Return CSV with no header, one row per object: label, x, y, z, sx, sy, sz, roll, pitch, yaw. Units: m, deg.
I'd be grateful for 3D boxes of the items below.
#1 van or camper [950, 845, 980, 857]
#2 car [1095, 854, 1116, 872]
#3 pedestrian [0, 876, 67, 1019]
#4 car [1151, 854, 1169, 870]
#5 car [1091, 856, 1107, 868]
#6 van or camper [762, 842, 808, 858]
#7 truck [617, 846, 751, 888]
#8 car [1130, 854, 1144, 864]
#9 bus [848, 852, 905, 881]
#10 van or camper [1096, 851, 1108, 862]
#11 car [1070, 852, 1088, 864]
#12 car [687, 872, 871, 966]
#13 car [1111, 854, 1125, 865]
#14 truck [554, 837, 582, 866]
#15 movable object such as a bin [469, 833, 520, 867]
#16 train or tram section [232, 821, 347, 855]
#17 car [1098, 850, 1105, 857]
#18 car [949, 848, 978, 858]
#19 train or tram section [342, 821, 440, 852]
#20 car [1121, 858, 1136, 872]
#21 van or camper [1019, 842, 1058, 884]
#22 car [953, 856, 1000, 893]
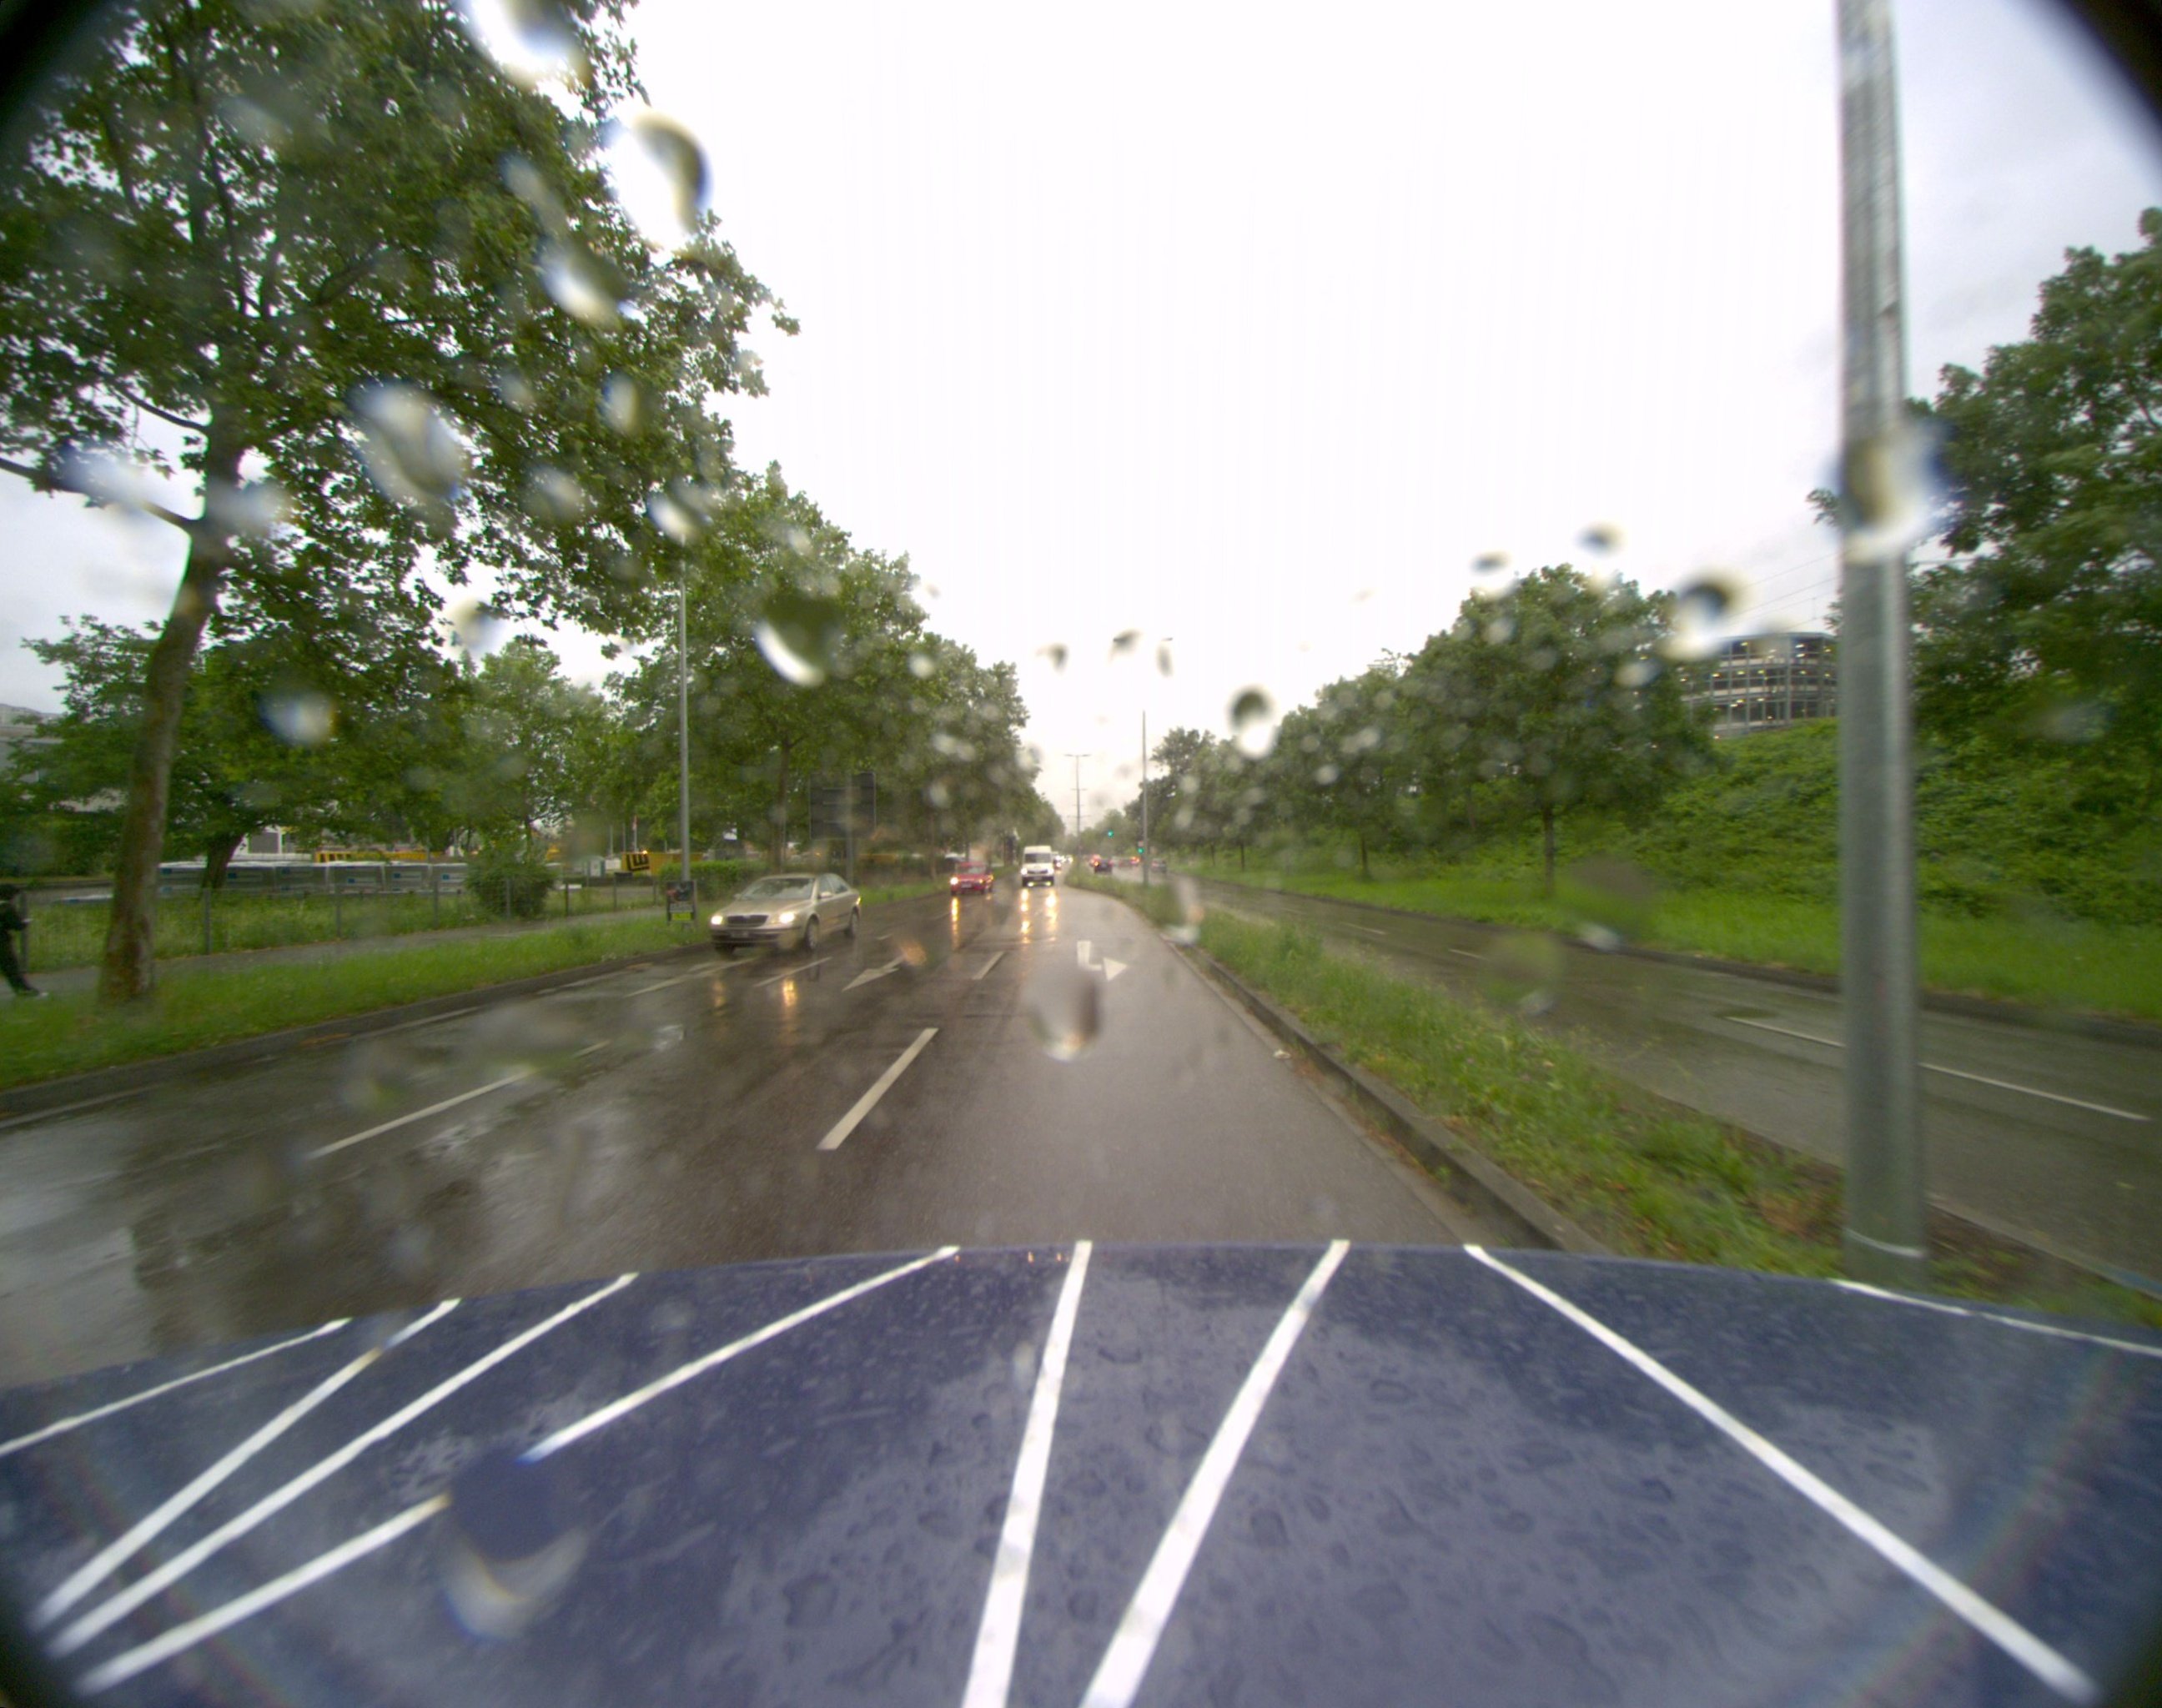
van or camper,-20.081,-0.461,131.472,4.918,2.076,1.863,0,1,-38
car,2.439,0.869,76.671,1.829,1.566,4.358,3,1,-1
pedestrian,-13.670,1.168,9.441,0.666,1.752,1.075,-1,0,-5
car,8.676,0.853,83.544,1.700,1.608,3.847,-1,0,1
car,2.617,1.166,108.961,1.914,1.565,4.707,1,0,-3
van or camper,-65.720,-0.870,169.014,8.995,3.140,2.979,-3,2,-35
truck,-33.158,0.986,63.691,9.517,3.015,3.073,-3,2,-36
car,9.011,0.808,122.571,1.840,1.493,4.439,1,0,1
bus,-19.485,1.135,72.543,4.804,2.632,2.000,-1,1,1
van or camper,3.492,0.434,125.685,1.733,1.732,3.999,2,1,-1
car,-0.239,0.513,99.942,1.914,1.565,4.706,1,0,-6
car,-5.685,1.154,14.985,1.807,1.422,4.386,-1,1,1
car,5.652,0.884,115.917,1.913,1.565,4.708,2,0,1
truck,-63.722,-0.349,94.270,2.501,3.326,9.444,-3,2,-35
movable object such as a bin,-63.774,-0.461,82.626,3.602,3.605,3.326,0,1,35
train or tram section,-88.879,-1.842,85.568,8.546,3.500,2.394,-3,2,-38
car,5.527,-0.140,204.914,1.998,1.678,4.708,1,0,1
car,-19.772,-0.165,127.542,4.470,1.663,1.863,0,1,-38
train or tram section,-82.243,-2.160,90.804,8.386,3.500,2.394,-3,2,-38
car,6.074,1.391,96.297,1.724,1.609,4.347,0,1,6
van or camper,-2.702,0.553,49.499,2.100,2.579,4.775,-2,0,1
car,-5.341,1.024,39.325,1.699,1.759,4.558,-1,0,1
